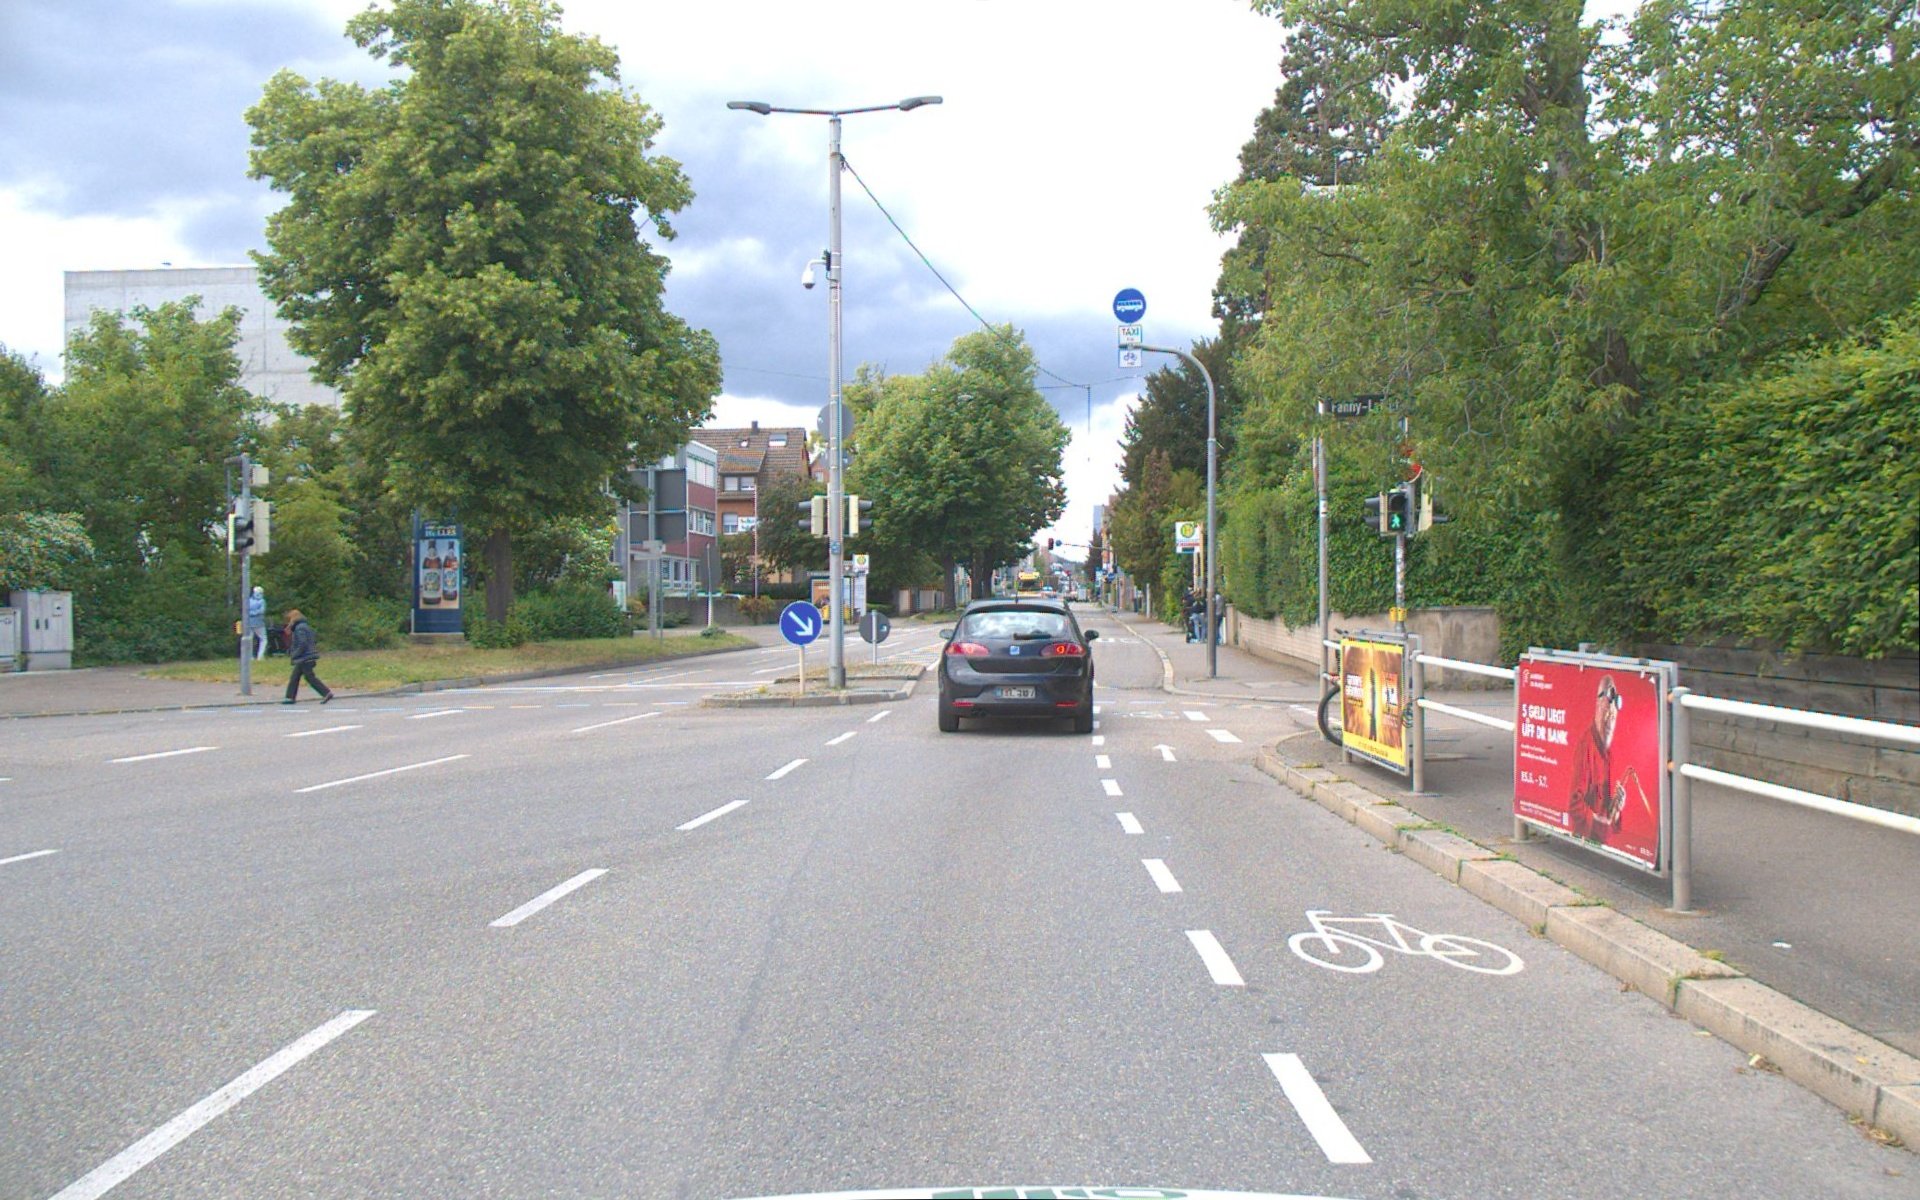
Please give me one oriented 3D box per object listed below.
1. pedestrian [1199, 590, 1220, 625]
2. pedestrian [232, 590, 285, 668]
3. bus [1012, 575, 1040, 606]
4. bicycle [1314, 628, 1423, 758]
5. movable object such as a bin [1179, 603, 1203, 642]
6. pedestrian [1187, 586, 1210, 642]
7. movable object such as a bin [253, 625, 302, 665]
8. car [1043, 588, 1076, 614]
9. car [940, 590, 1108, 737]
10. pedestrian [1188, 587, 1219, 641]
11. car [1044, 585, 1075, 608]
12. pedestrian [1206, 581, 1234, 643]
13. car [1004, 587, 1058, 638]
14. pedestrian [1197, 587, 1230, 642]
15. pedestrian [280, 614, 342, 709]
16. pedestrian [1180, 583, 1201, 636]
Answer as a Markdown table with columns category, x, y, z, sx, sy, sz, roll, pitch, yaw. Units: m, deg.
| category | x | y | z | sx | sy | sz | roll | pitch | yaw |
| --- | --- | --- | --- | --- | --- | --- | --- | --- | --- |
| pedestrian | 7.090 | 0.211 | 46.993 | 0.445 | 0.981 | 0.383 | -4 | 1 | -3 |
| pedestrian | -14.391 | 0.585 | 33.949 | 0.642 | 1.549 | 0.924 | -1 | 0 | 1 |
| bus | 7.012 | -1.013 | 173.950 | 2.809 | 3.191 | 6.400 | -1 | 0 | 3 |
| bicycle | 3.578 | 0.794 | 14.602 | 0.615 | 1.046 | 1.504 | -1 | 0 | 1 |
| movable object such as a bin | 6.668 | 0.656 | 47.707 | 0.432 | 1.076 | 0.567 | -4 | 1 | 30 |
| pedestrian | 6.757 | 0.384 | 46.844 | 0.538 | 1.543 | 0.362 | -3 | 1 | 13 |
| movable object such as a bin | -14.373 | 0.944 | 34.833 | 0.642 | 0.812 | 0.897 | -1 | 0 | 1 |
| car | 6.194 | 0.057 | 103.423 | 1.901 | 1.507 | 4.254 | -2 | 1 | 1 |
| car | 0.674 | 0.653 | 19.071 | 1.723 | 1.474 | 3.714 | 1 | 1 | 0 |
| pedestrian | 7.156 | 0.406 | 48.622 | 0.764 | 1.526 | 0.605 | -3 | 0 | -2 |
| car | 7.740 | -0.282 | 128.376 | 1.951 | 1.713 | 4.004 | -1 | 0 | 9 |
| pedestrian | 6.878 | 0.317 | 43.774 | 0.533 | 1.582 | 0.471 | -5 | 0 | -5 |
| car | 2.670 | 0.421 | 61.140 | 1.780 | 1.729 | 4.256 | -1 | 1 | 5 |
| pedestrian | 6.927 | 0.406 | 45.226 | 0.610 | 1.452 | 0.510 | -4 | 1 | 42 |
| pedestrian | -10.098 | 0.947 | 25.738 | 0.759 | 1.432 | 0.599 | -1 | 0 | -10 |
| pedestrian | 7.631 | 0.316 | 54.865 | 0.573 | 1.741 | 0.530 | -3 | 0 | 3 |
